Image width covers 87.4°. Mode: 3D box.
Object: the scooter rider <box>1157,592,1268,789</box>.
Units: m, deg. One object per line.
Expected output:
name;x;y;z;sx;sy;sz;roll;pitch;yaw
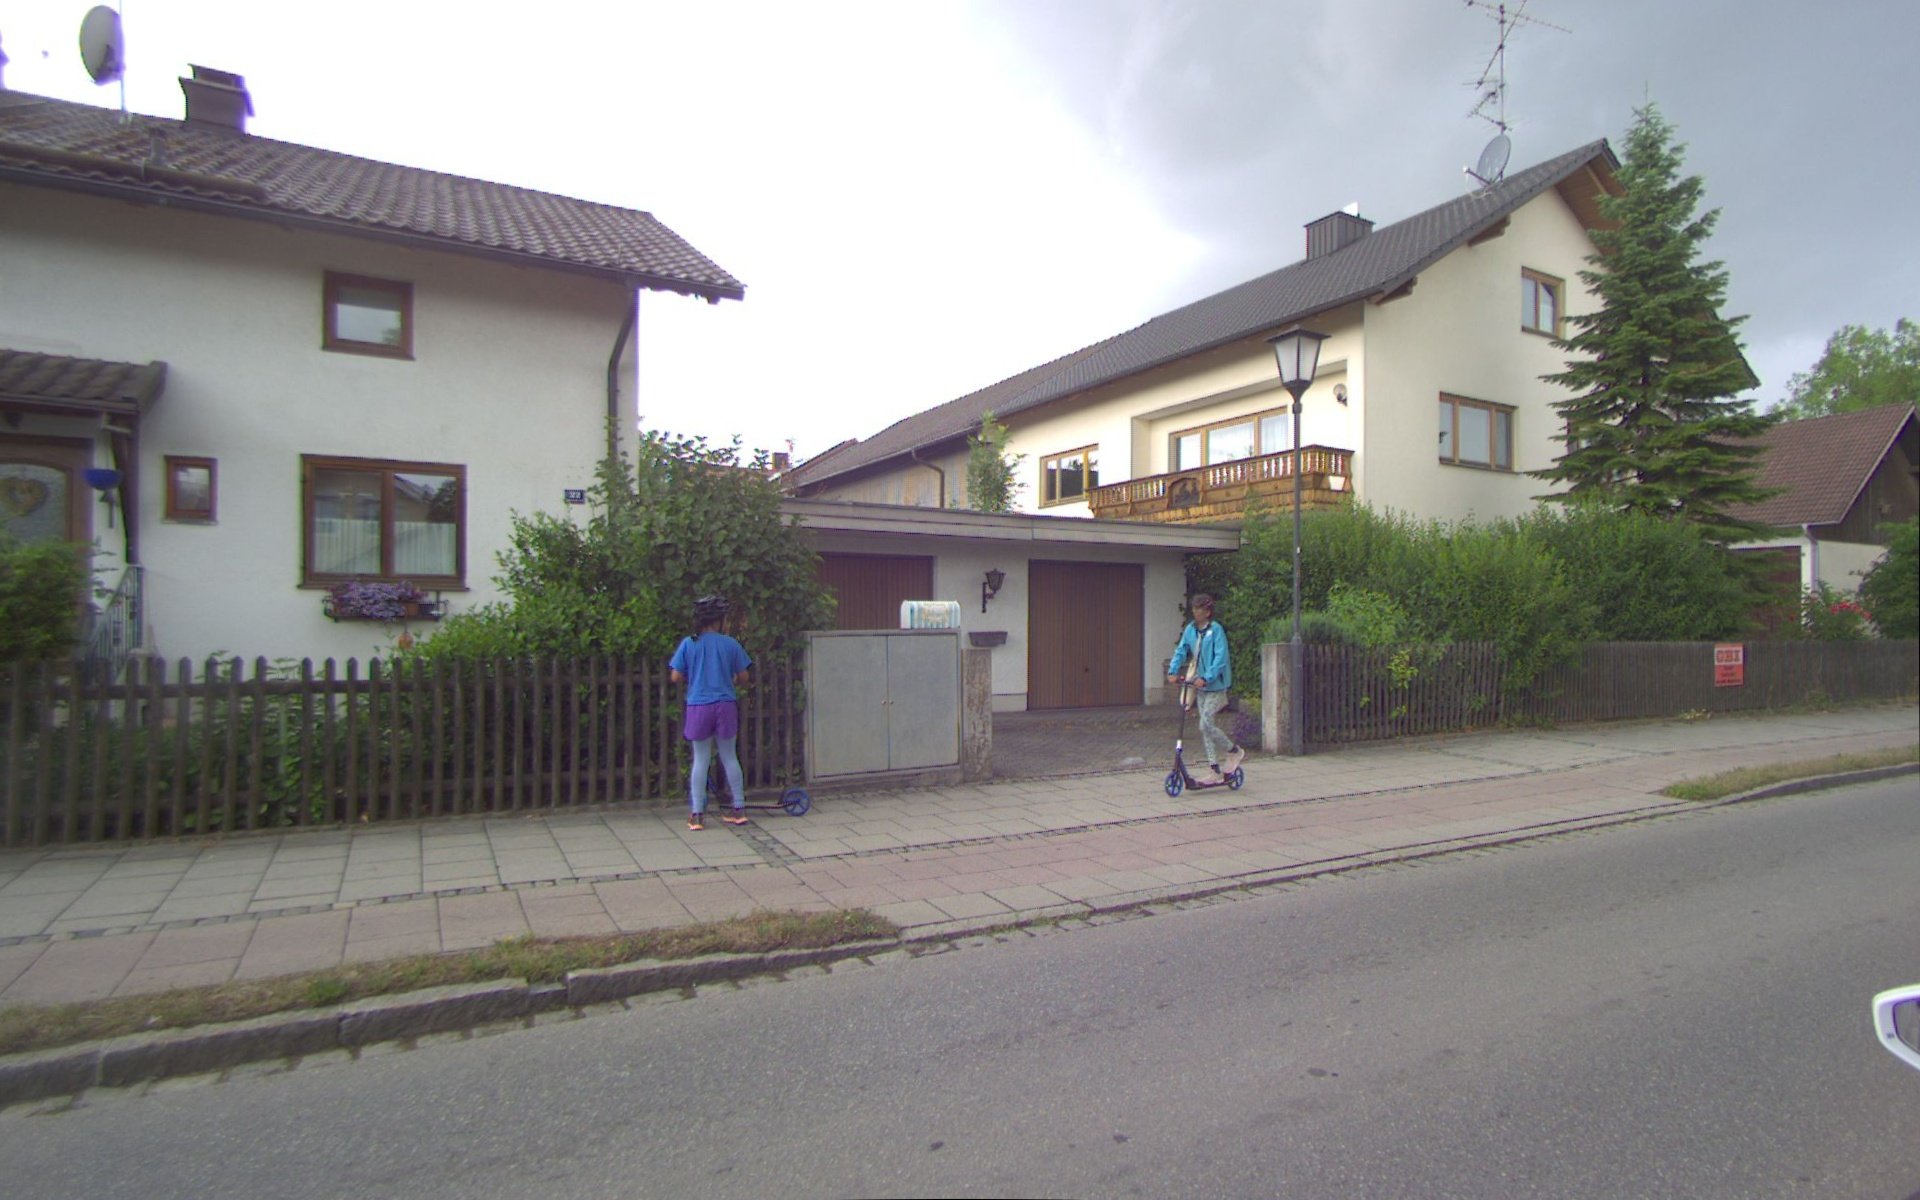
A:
scooter rider;2.035;0.703;8.118;0.707;1.509;0.500;1;0;-29

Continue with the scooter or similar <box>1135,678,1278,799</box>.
scooter or similar;1.990;1.088;8.098;1.048;0.861;0.519;1;0;-29

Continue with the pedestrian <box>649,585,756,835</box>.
pedestrian;-1.673;0.689;6.564;0.478;1.549;0.535;1;0;9

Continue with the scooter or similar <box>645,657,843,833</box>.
scooter or similar;-1.456;0.923;6.765;1.164;1.051;0.658;1;-1;-29
